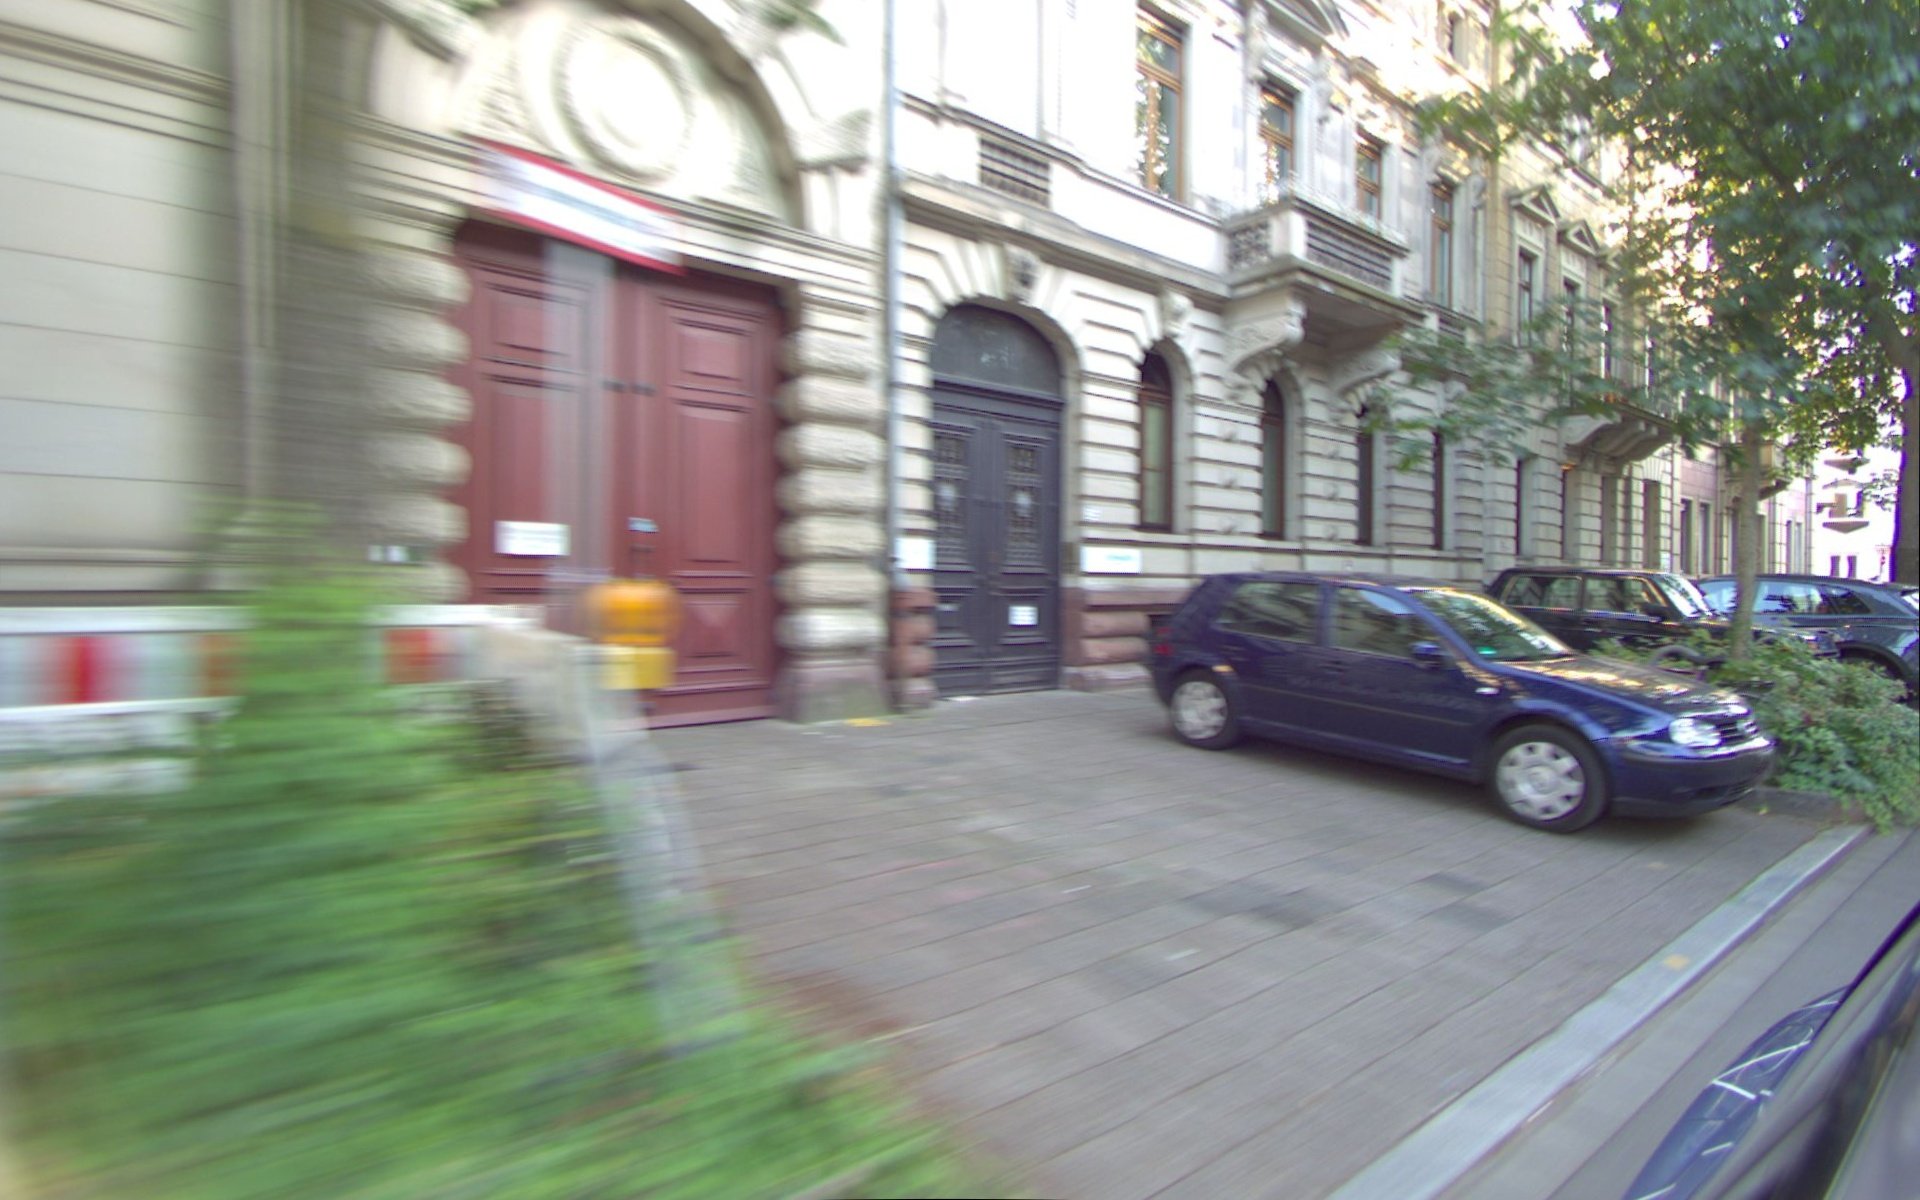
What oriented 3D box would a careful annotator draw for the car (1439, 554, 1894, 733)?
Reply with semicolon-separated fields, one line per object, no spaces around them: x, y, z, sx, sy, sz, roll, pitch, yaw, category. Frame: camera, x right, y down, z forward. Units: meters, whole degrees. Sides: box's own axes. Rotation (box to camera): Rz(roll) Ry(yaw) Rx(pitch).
8.009;0.356;11.796;1.733;1.708;4.017;0;1;-39;car

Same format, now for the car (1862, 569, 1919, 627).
28.338;0.061;28.163;1.829;1.580;4.432;1;4;-32;car

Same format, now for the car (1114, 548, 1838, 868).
3.329;0.454;7.295;1.821;1.499;4.235;0;4;-39;car

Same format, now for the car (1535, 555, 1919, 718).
10.173;0.321;12.987;1.933;1.738;4.451;-1;3;-39;car

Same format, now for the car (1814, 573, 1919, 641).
22.687;0.211;23.667;1.750;1.445;3.875;0;4;-40;car
